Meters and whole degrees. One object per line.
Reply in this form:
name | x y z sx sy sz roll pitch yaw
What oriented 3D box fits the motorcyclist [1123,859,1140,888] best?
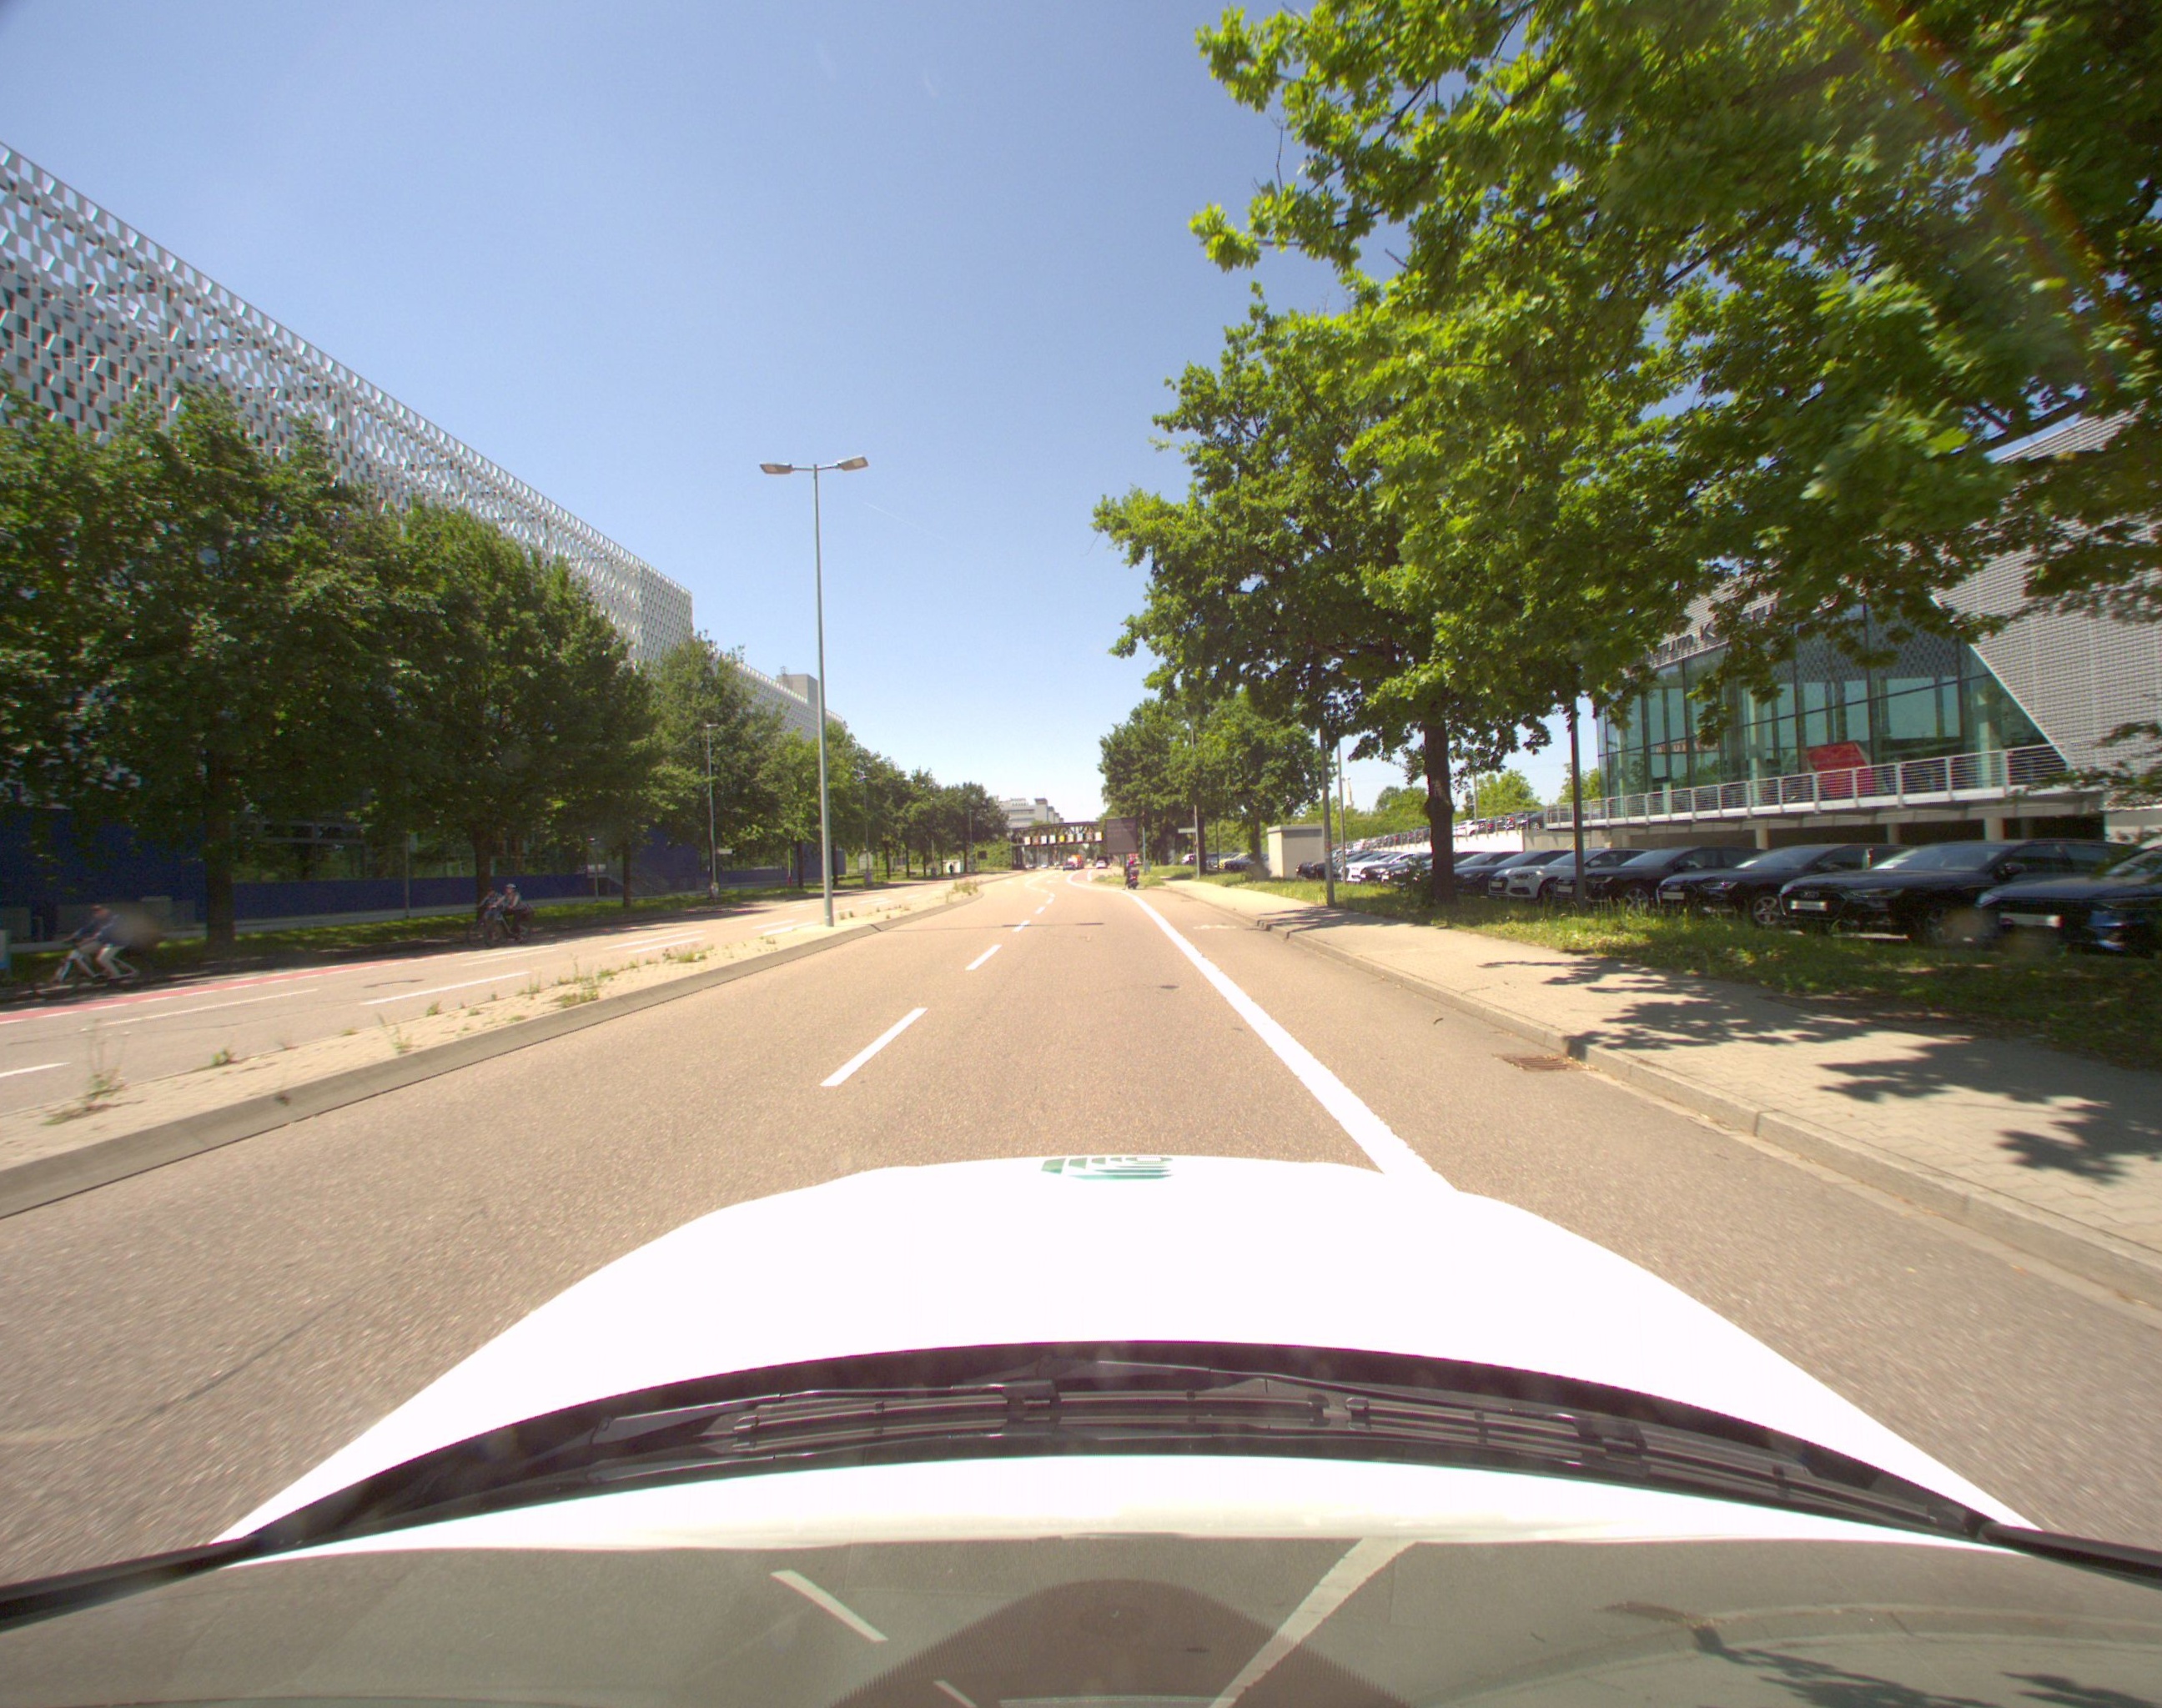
motorcyclist | 2.657 1.029 43.170 0.719 1.529 0.868 0 -1 -9

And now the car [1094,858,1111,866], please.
car | 5.426 2.061 202.275 3.967 1.750 1.896 -2 -1 6

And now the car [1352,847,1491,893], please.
car | 12.255 0.560 29.516 4.206 1.385 1.917 3 0 1

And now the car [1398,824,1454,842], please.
car | 29.032 -1.752 68.597 3.979 1.312 1.795 -2 -1 -4

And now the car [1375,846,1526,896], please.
car | 12.073 0.549 26.797 4.115 1.380 1.779 3 -1 1

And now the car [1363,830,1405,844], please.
car | 29.269 -1.620 78.710 3.513 1.239 1.541 0 -1 -2

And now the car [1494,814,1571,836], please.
car | 29.070 -1.861 52.511 3.978 1.312 1.795 0 -1 -4

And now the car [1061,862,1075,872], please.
car | -1.984 1.968 125.156 1.894 1.376 4.231 -2 0 0

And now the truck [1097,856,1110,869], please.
truck | 4.413 1.709 162.424 2.450 2.410 7.135 0 0 1

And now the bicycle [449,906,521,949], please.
bicycle | -18.032 2.203 24.694 0.634 1.134 1.972 -2 -1 3

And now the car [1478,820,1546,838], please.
car | 29.092 -1.706 55.020 3.717 1.130 1.682 0 -1 -4

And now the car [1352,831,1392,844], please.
car | 29.165 -1.616 81.730 3.512 1.239 1.541 0 -1 0

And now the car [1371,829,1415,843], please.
car | 29.347 -1.692 76.638 3.513 1.239 1.610 0 -1 -1

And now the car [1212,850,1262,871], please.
car | 13.468 0.556 70.283 3.853 1.604 1.795 3 -1 -4

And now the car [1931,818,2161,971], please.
car | 11.893 0.437 8.346 4.434 1.393 1.834 2 -1 1

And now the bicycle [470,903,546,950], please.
bicycle | -16.601 2.083 23.671 0.627 1.159 2.117 -4 -1 0

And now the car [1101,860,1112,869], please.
car | 4.571 1.914 147.675 1.918 1.420 4.000 -1 0 0

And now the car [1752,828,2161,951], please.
car | 11.895 0.447 10.911 4.309 1.407 1.825 2 -1 1

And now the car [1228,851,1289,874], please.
car | 12.981 0.644 59.585 3.978 1.440 1.795 3 -1 -4

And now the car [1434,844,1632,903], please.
car | 11.885 0.506 21.620 4.206 1.407 1.917 1 -1 1

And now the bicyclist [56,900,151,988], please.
bicyclist | -20.004 1.814 16.692 0.741 1.685 0.953 -2 -1 4

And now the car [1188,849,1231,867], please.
car | 12.670 0.398 80.291 3.853 1.604 1.795 3 -1 -4

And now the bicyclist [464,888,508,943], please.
bicyclist | -18.047 1.856 24.722 0.634 1.582 0.885 -2 -1 3

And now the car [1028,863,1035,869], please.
car | -13.853 3.317 228.400 1.711 1.732 3.804 -2 0 -1

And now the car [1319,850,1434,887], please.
car | 12.518 0.606 34.732 4.206 1.452 1.917 2 -1 1

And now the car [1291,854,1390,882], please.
car | 12.568 0.679 39.620 4.206 1.342 1.917 0 -1 1

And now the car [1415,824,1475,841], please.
car | 29.083 -1.734 65.155 3.978 1.312 1.795 0 -1 -4

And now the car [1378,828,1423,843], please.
car | 29.097 -1.677 74.162 3.513 1.239 1.610 0 -1 -1

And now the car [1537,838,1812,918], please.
car | 11.939 0.465 16.593 4.206 1.407 1.917 2 -1 1

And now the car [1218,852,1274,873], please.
car | 13.149 0.696 65.040 3.978 1.423 1.795 3 -1 -4

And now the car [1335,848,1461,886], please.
car | 12.418 0.495 32.094 4.206 1.342 1.917 2 -1 1

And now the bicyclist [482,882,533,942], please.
bicyclist | -16.630 1.659 23.620 0.631 1.629 1.044 -4 -1 0

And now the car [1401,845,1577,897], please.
car | 11.981 0.485 24.125 4.206 1.369 1.988 2 -1 1

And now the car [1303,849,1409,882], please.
car | 12.479 0.532 37.151 4.206 1.342 1.917 2 -1 1

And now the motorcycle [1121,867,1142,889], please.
motorcycle | 2.664 1.248 43.123 0.716 1.105 1.824 -1 -1 -9

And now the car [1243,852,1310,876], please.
car | 12.993 0.637 54.352 3.978 1.377 1.795 3 -1 -4

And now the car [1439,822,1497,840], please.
car | 28.787 -1.695 60.670 3.516 1.239 1.674 0 -1 -4

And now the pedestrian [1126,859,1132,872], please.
pedestrian | 5.429 1.300 92.312 0.622 1.374 0.564 -2 -1 -1

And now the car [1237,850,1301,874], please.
car | 13.166 0.553 57.140 3.978 1.440 1.795 3 -1 -4

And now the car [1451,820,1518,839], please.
car | 28.717 -1.731 57.964 3.931 1.211 1.715 -1 -1 -4

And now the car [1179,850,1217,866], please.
car | 13.078 0.471 91.250 3.853 1.604 1.795 3 -1 -4

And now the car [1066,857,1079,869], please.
car | -1.431 1.479 135.694 1.987 2.014 4.000 -2 0 0

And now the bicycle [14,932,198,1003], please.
bicycle | -19.976 2.292 16.804 0.736 1.125 2.437 -2 0 4

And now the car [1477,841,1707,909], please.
car | 11.845 0.473 19.097 4.206 1.407 1.917 2 -1 1

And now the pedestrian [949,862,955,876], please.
pedestrian | -17.942 2.057 113.317 0.741 1.884 0.577 -2 -1 1

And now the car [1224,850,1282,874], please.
car | 13.141 0.593 62.247 3.978 1.624 1.795 3 -1 -4

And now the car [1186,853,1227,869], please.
car | 12.847 0.711 83.232 3.853 1.604 1.795 1 -1 -4

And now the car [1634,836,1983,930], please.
car | 12.058 0.466 13.723 4.206 1.356 1.879 2 -1 1

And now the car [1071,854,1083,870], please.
car | -0.733 1.580 153.978 2.066 2.854 6.764 -2 0 0
